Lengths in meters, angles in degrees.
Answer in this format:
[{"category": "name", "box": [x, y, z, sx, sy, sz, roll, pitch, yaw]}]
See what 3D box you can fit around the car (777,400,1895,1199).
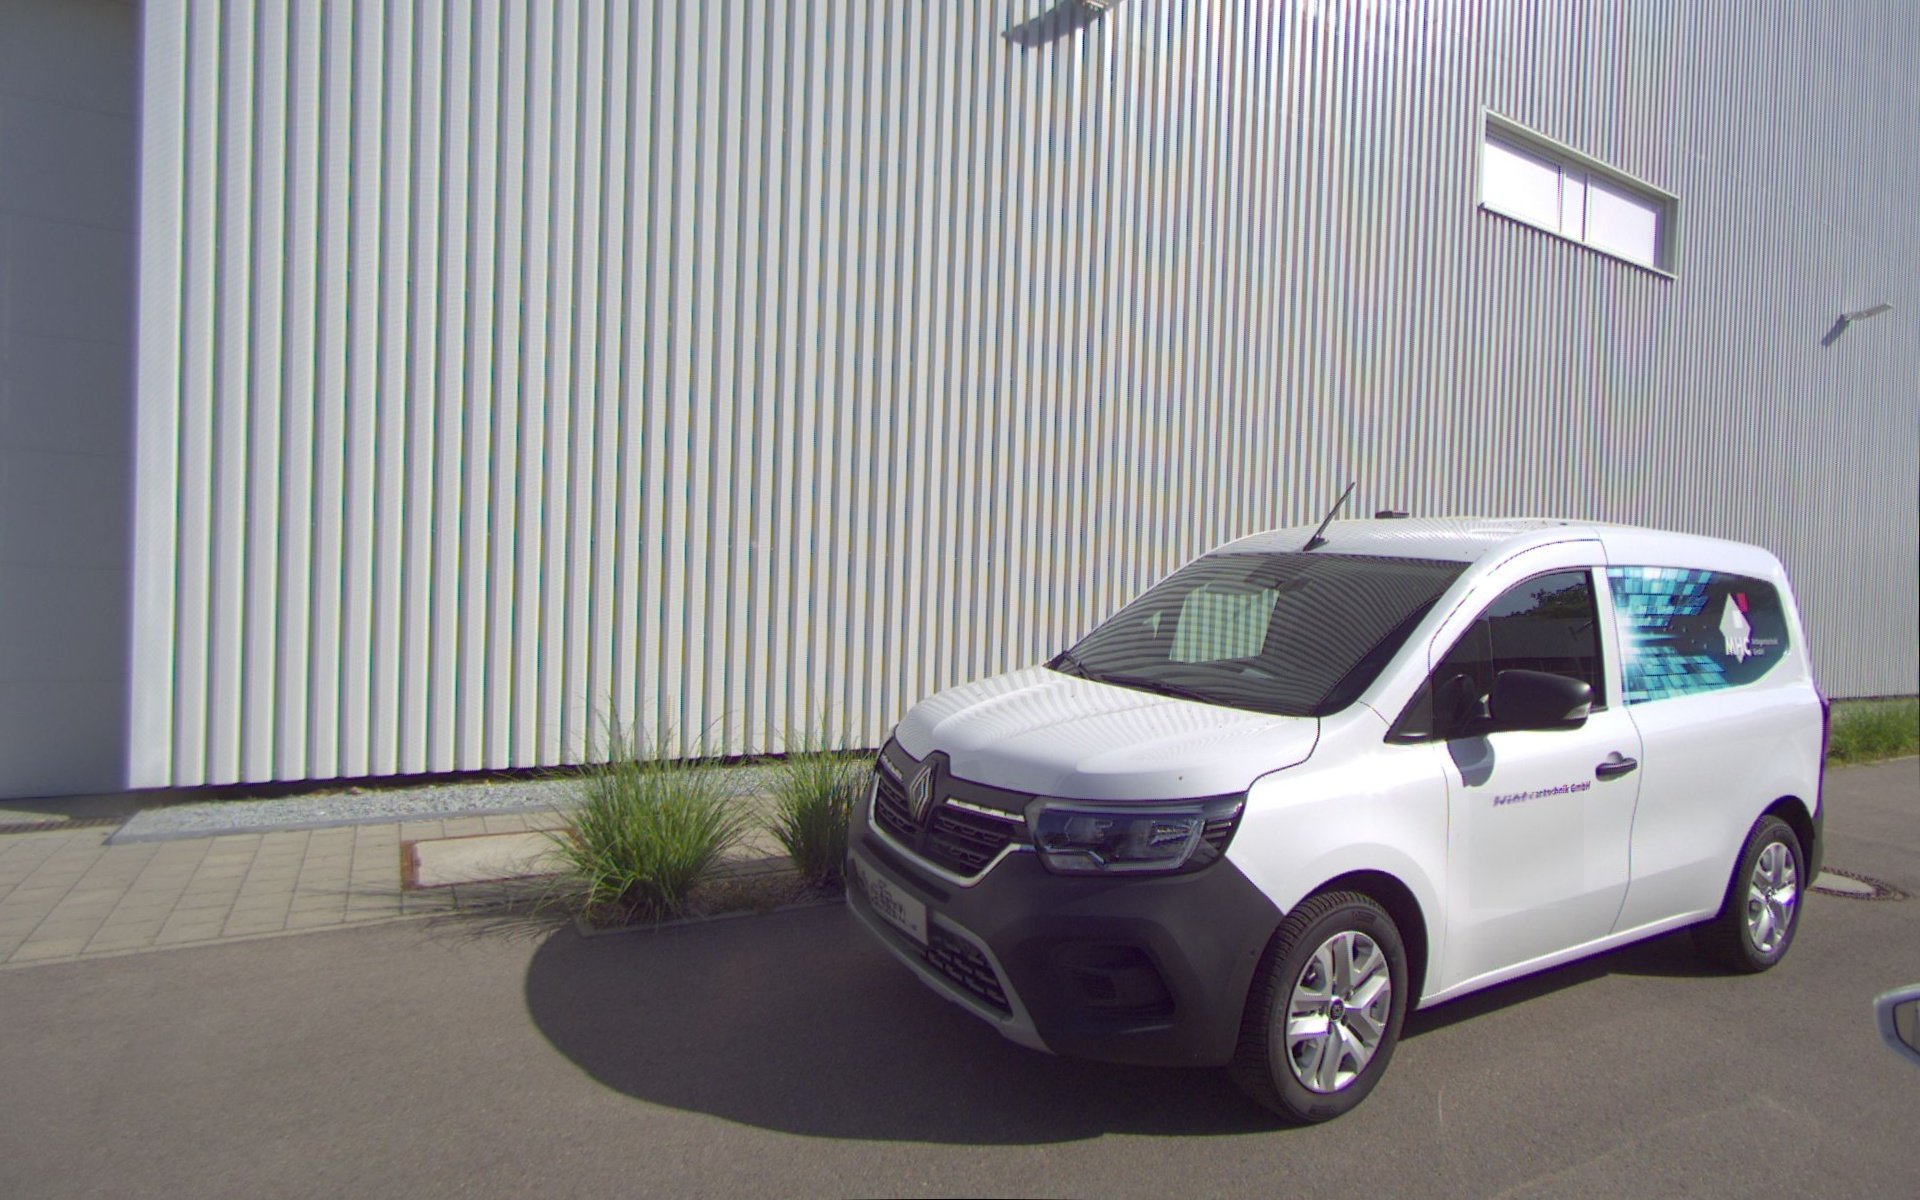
[{"category": "car", "box": [1.749, 0.527, 4.123, 4.548, 1.840, 1.774, 2, 2, -31]}]
